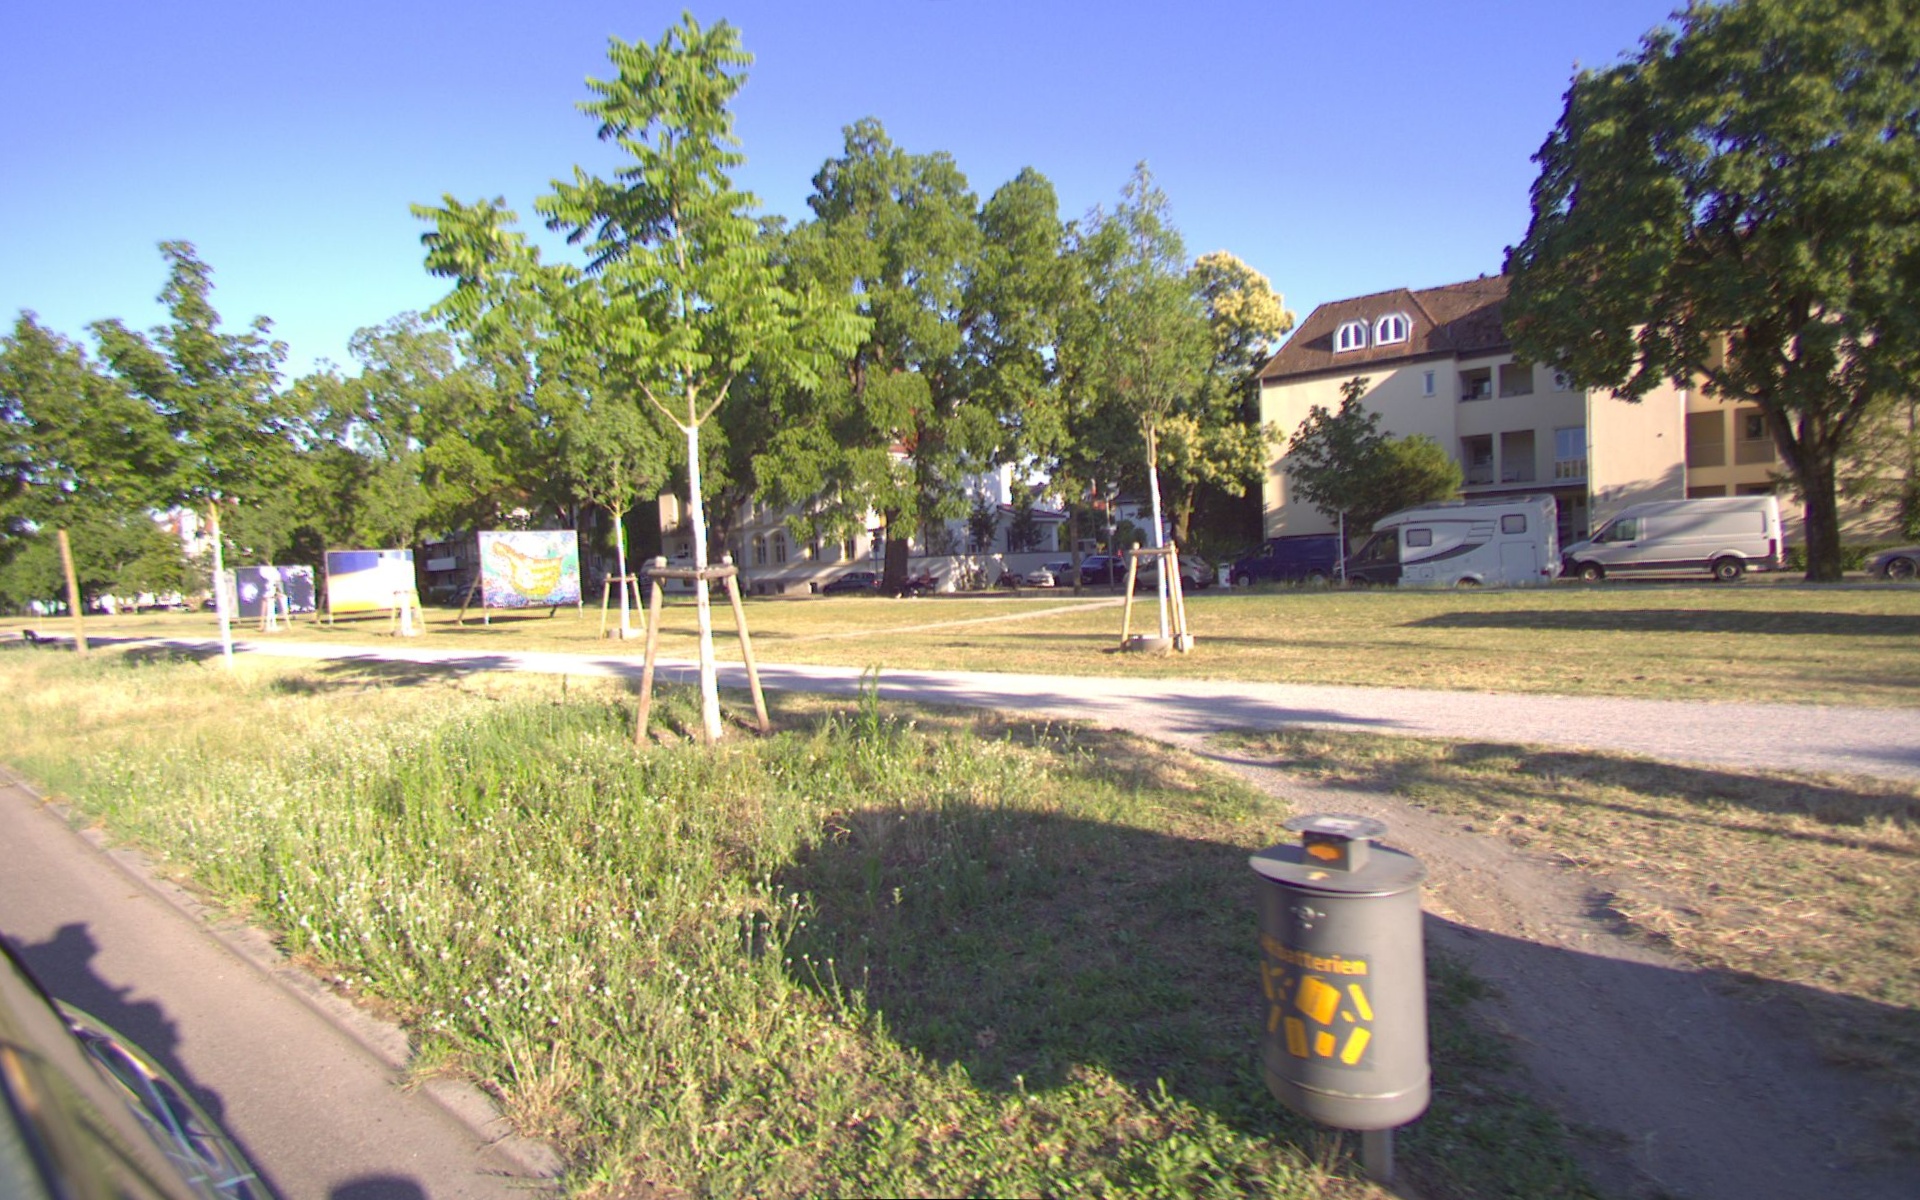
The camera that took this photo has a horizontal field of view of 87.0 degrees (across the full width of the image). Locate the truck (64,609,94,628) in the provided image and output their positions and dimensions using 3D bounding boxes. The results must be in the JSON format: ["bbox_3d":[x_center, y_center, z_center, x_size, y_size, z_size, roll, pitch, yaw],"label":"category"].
[{"bbox_3d":[-156.255,3.288,179.406,7.704,3.169,2.751,-2,2,40],"label":"truck"}]

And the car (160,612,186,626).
[{"bbox_3d":[-105.352,2.531,135.459,3.998,1.715,1.973,-2,1,41],"label":"car"}]

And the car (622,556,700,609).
[{"bbox_3d":[-20.353,-1.153,68.699,6.071,3.273,1.973,-2,1,41],"label":"car"}]

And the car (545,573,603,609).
[{"bbox_3d":[-29.270,-0.665,76.643,5.042,2.660,1.925,0,-1,41],"label":"car"}]

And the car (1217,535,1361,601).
[{"bbox_3d":[12.950,-1.201,40.074,5.115,2.437,1.917,0,-1,42],"label":"car"}]

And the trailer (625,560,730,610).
[{"bbox_3d":[-16.093,-0.761,57.346,6.632,2.679,2.448,0,-1,40],"label":"trailer"}]

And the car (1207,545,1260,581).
[{"bbox_3d":[17.653,-2.402,65.247,1.868,2.139,3.949,-2,2,39],"label":"car"}]

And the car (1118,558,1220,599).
[{"bbox_3d":[8.988,-0.936,43.652,3.805,1.554,1.974,-2,2,39],"label":"car"}]

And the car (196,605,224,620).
[{"bbox_3d":[-90.479,1.490,122.093,3.999,1.858,1.972,0,-1,42],"label":"car"}]

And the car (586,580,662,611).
[{"bbox_3d":[-20.400,-0.241,61.283,4.947,1.654,1.974,-1,3,40],"label":"car"}]

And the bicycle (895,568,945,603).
[{"bbox_3d":[-1.642,-0.582,40.932,2.331,1.352,0.505,-2,2,44],"label":"bicycle"}]

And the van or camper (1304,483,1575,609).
[{"bbox_3d":[14.435,-1.516,30.820,6.902,3.286,2.614,-2,2,42],"label":"van or camper"}]

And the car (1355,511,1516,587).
[{"bbox_3d":[14.435,-1.516,30.820,3.999,2.028,1.973,-2,2,42],"label":"car"}]

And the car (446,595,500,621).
[{"bbox_3d":[-36.115,0.585,75.013,4.341,1.741,1.974,-2,1,40],"label":"car"}]

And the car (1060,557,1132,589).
[{"bbox_3d":[8.572,-1.717,63.556,2.070,1.782,5.002,-2,2,40],"label":"car"}]

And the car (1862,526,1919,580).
[{"bbox_3d":[27.586,-1.316,27.466,4.564,1.413,1.971,0,-1,45],"label":"car"}]

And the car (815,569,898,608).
[{"bbox_3d":[-5.794,-0.605,56.350,4.712,1.926,1.870,-2,2,42],"label":"car"}]

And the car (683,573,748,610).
[{"bbox_3d":[-15.500,-0.526,64.105,3.999,2.170,1.973,-2,2,42],"label":"car"}]

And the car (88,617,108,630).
[{"bbox_3d":[-144.205,3.905,169.318,4.000,2.028,1.972,-2,1,43],"label":"car"}]

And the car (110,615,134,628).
[{"bbox_3d":[-129.094,3.310,155.917,3.996,2.029,2.099,0,-1,40],"label":"car"}]

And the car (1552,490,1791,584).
[{"bbox_3d":[22.527,-1.866,32.238,6.087,2.617,1.973,0,-1,41],"label":"car"}]

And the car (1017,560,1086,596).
[{"bbox_3d":[5.393,-1.310,59.069,1.977,1.914,4.472,-2,2,36],"label":"car"}]

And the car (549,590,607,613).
[{"bbox_3d":[-24.418,0.119,64.661,4.043,1.325,1.833,-1,3,44],"label":"car"}]
